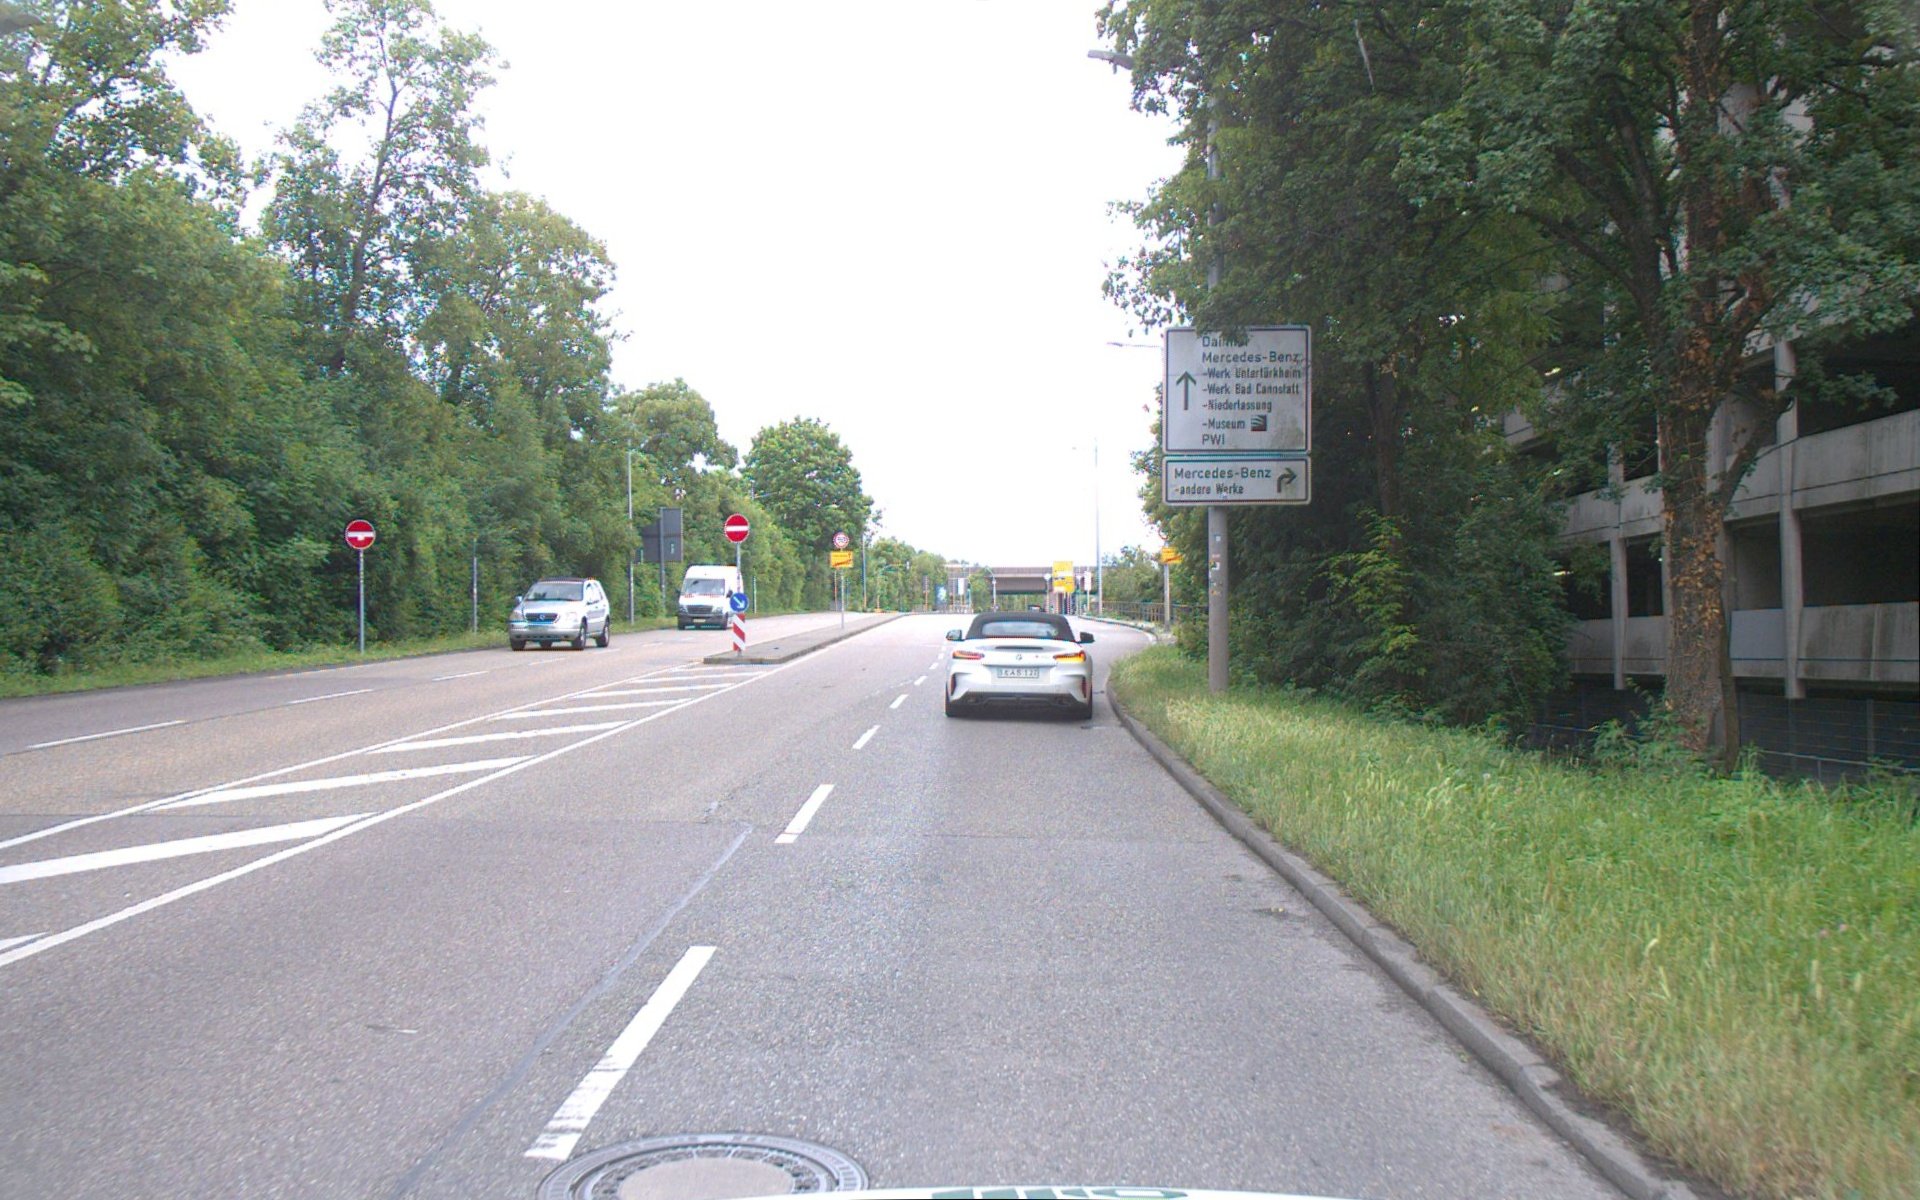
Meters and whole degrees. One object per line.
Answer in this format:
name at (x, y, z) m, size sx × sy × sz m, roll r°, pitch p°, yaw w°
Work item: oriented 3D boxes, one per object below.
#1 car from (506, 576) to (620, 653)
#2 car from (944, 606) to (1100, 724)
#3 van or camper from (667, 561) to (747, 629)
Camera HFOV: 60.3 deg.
car at (-10.138, 0.319, 42.542) m, size 1.776 × 1.862 × 4.384 m, roll 0°, pitch 1°, yaw 1°
car at (0.729, 0.784, 21.630) m, size 1.836 × 1.332 × 3.872 m, roll -1°, pitch 0°, yaw 0°
van or camper at (-10.434, -0.181, 68.664) m, size 2.236 × 2.599 × 6.858 m, roll 2°, pitch -1°, yaw -1°
